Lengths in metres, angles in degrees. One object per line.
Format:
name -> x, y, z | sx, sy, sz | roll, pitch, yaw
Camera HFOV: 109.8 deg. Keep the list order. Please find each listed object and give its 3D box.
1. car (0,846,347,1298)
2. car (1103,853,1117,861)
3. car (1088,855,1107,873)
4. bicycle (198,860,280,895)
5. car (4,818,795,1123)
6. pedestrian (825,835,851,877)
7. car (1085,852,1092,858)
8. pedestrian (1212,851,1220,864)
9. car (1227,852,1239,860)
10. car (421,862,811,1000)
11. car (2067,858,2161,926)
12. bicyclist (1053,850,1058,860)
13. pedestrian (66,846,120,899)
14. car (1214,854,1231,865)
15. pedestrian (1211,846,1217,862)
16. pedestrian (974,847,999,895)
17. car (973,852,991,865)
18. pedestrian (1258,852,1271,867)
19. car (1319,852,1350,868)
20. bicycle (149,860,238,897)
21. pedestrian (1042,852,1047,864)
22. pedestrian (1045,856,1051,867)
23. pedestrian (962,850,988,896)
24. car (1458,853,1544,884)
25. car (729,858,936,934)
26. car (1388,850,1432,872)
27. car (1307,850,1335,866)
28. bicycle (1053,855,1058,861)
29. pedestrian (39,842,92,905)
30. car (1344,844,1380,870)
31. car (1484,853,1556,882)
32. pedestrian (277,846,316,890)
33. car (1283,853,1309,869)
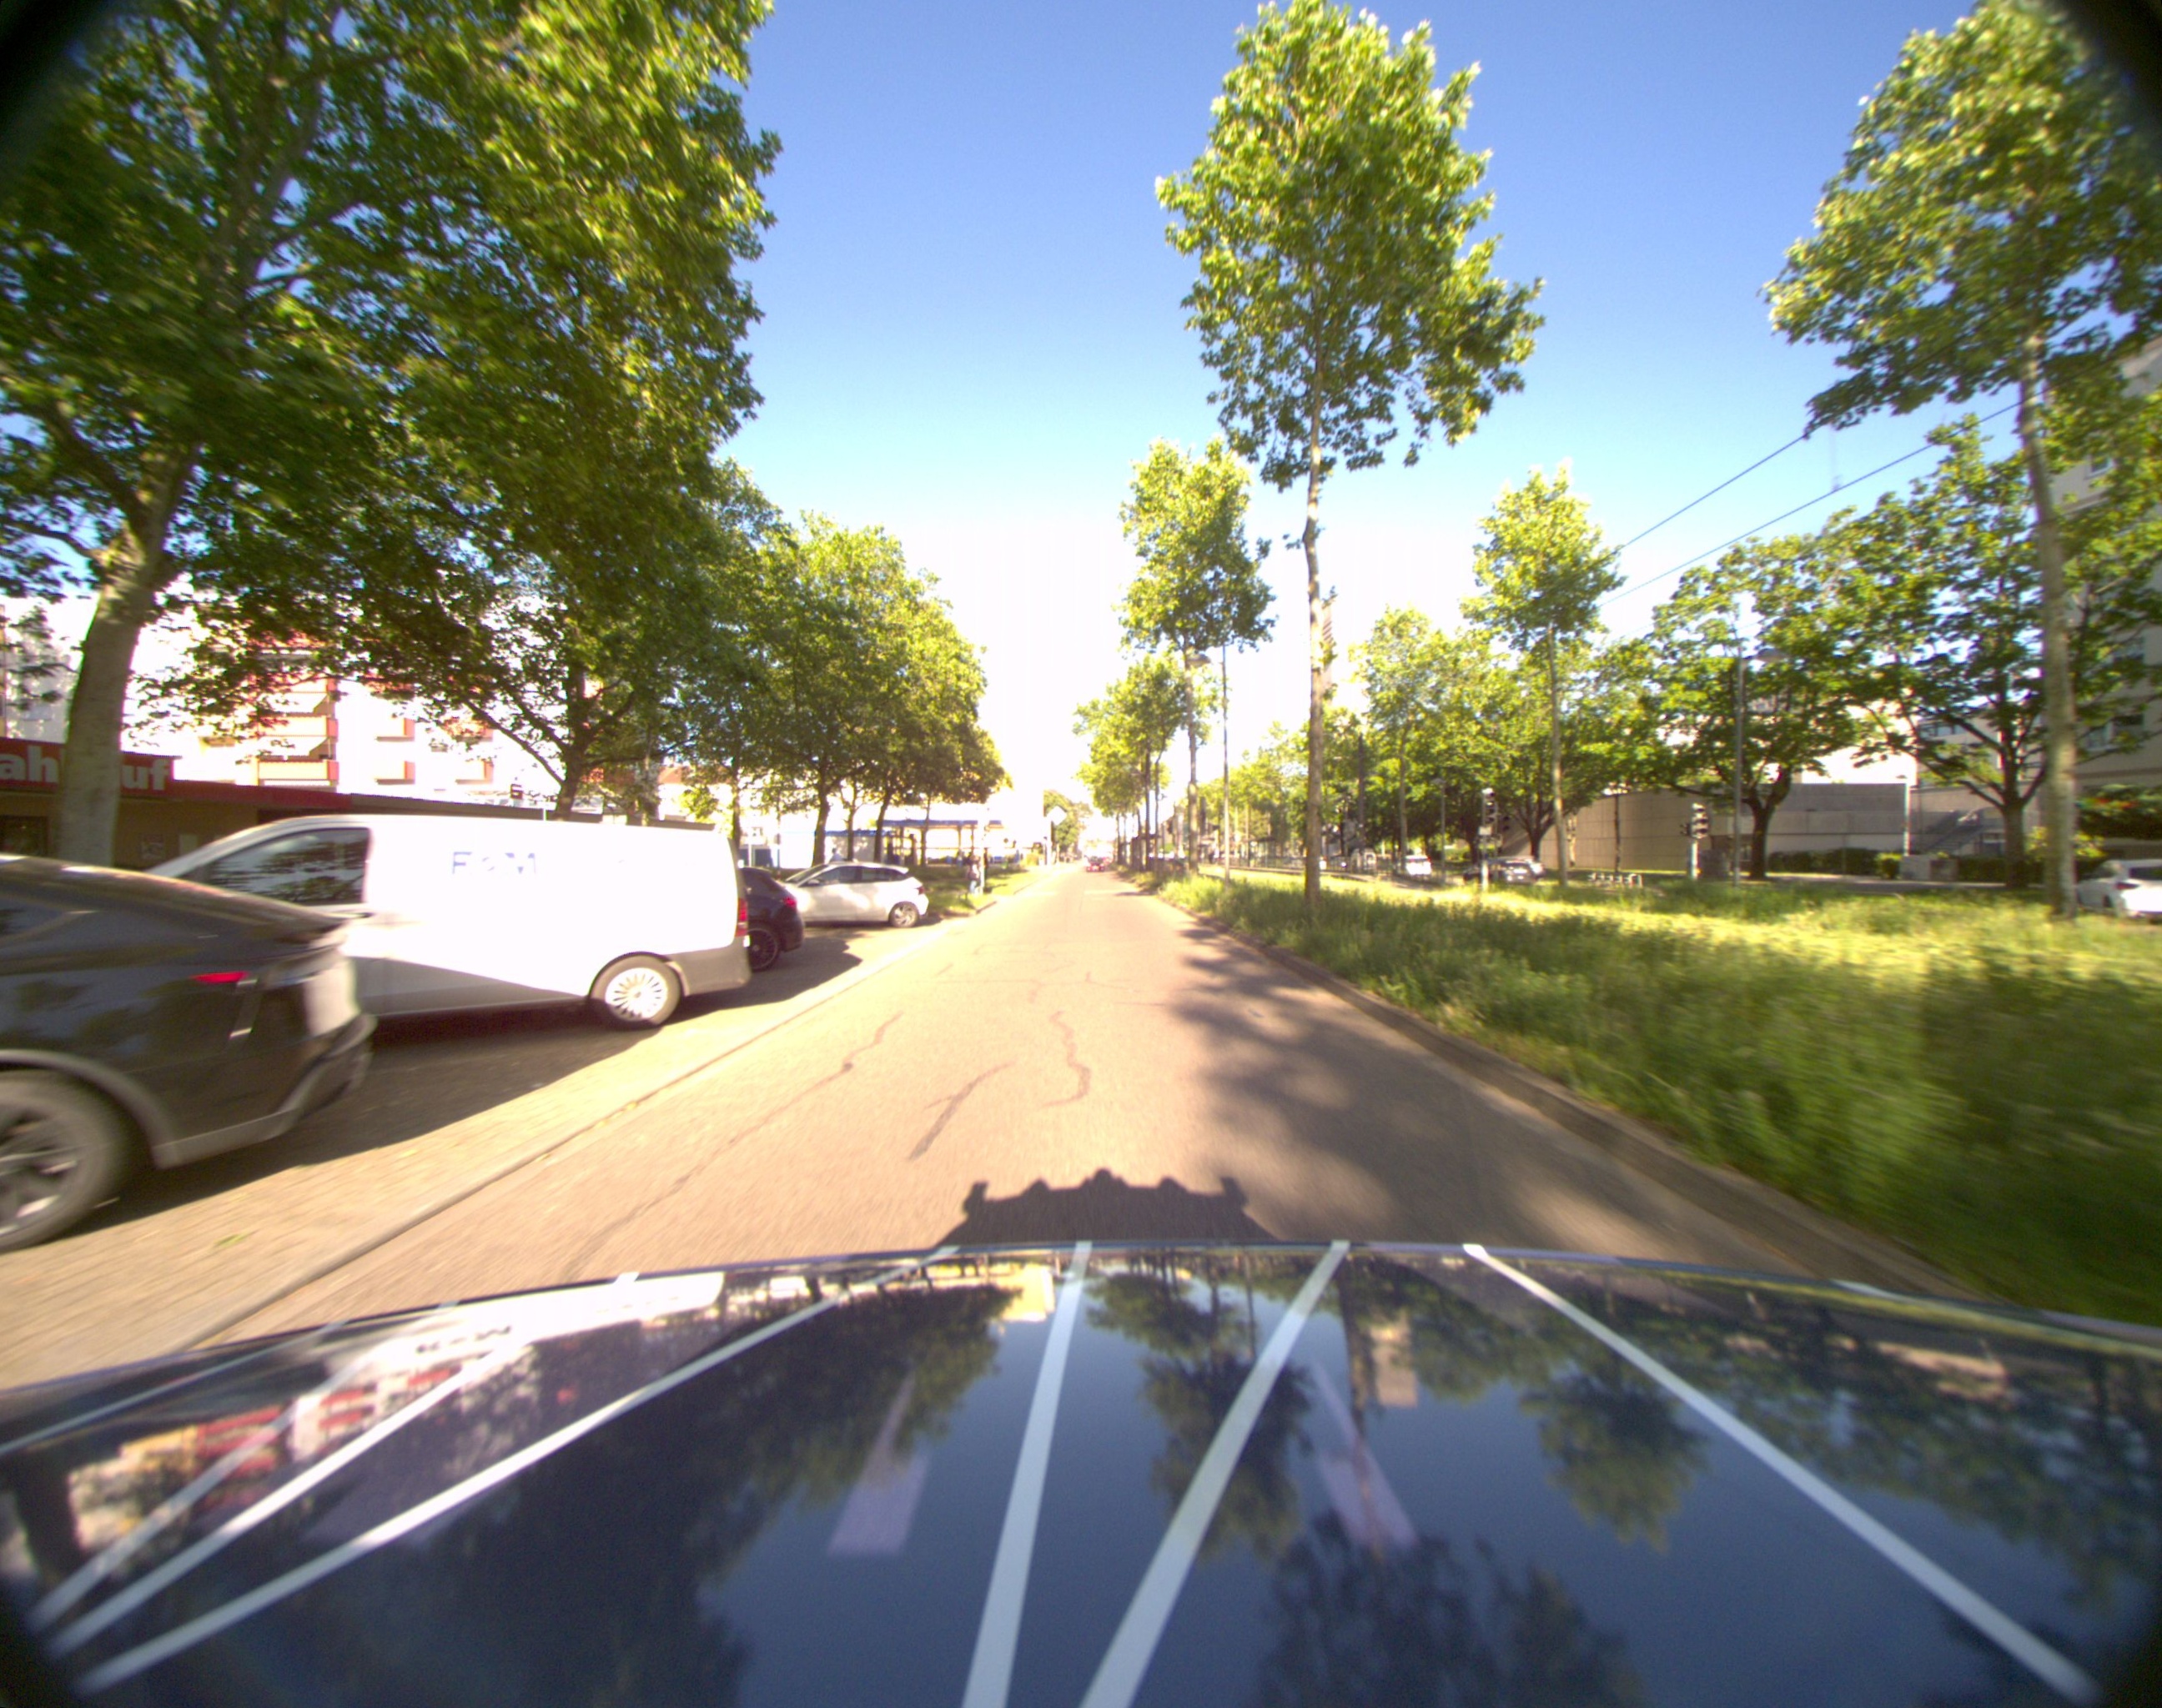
car -> -5.749, 0.809, 2.619 | 4.512, 1.695, 1.755 | 1, 1, -40
car -> 6.043, 0.602, 158.691 | 1.545, 1.522, 3.597 | -3, 1, -19
car -> 1.473, 0.873, 67.862 | 1.619, 1.536, 4.277 | 0, 0, 2
bicycle -> -30.182, 0.820, 27.280 | 0.597, 1.172, 1.853 | -1, 0, 23
car -> -5.225, 0.713, 6.751 | 4.680, 1.842, 1.825 | 1, 1, -39
pedestrian -> -9.876, 0.081, 30.898 | 0.844, 1.712, 0.830 | 0, 0, -2
car -> 2.081, 0.329, 215.009 | 1.998, 1.806, 4.000 | -1, 0, 1
pedestrian -> 16.538, 0.422, 93.242 | 0.885, 1.680, 0.754 | -1, 1, 2
car -> 23.790, 0.234, 119.236 | 1.266, 1.234, 3.376 | 0, 0, 0
car -> -5.866, 0.889, 9.959 | 4.007, 1.421, 1.794 | 2, 0, -35
car -> 24.510, 0.814, 17.308 | 1.835, 1.426, 3.834 | 0, 0, 42
bicyclist -> -3.929, 0.164, 118.239 | 0.678, 1.466, 0.936 | 0, 1, 1
pedestrian -> -27.192, 0.504, 20.922 | 0.533, 1.422, 0.715 | 0, 0, -4
car -> 19.219, 0.765, 103.380 | 1.609, 1.419, 3.536 | 0, 0, -1
pedestrian -> 16.456, 0.006, 93.985 | 0.722, 1.856, 0.637 | -1, 1, 2
pedestrian -> -3.759, 0.661, 30.262 | 0.799, 1.874, 0.928 | 0, 0, 5
car -> -10.889, 0.482, 83.756 | 1.725, 1.455, 4.004 | 0, 0, -3
pedestrian -> 16.079, 0.465, 66.607 | 0.838, 1.253, 0.801 | -1, 1, 30
car -> 23.579, 0.536, 70.903 | 1.598, 1.480, 4.020 | 0, 0, 0
bicycle -> -30.026, 0.822, 25.748 | 0.597, 1.172, 1.854 | -1, 1, 29
pedestrian -> -5.010, 0.569, 104.658 | 0.605, 1.692, 0.552 | 0, 1, 5
pedestrian -> -5.324, 1.176, 122.810 | 0.790, 1.817, 1.032 | 1, 1, -16
pedestrian -> -3.976, 0.700, 28.546 | 0.714, 1.696, 0.652 | 1, 1, -33
car -> 20.076, 0.666, 36.527 | 1.998, 1.381, 4.169 | 0, 0, 3
car -> -5.446, 0.901, 16.754 | 4.006, 1.461, 1.756 | 2, 0, -30
car -> 23.925, 0.481, 55.315 | 1.717, 1.537, 3.934 | 0, 0, 4
car -> 24.616, 0.367, 78.012 | 1.598, 1.626, 3.930 | 0, 0, 1
bicycle -> -3.941, 0.557, 118.213 | 0.684, 0.925, 1.736 | 0, 0, 0
pedestrian -> -27.760, 0.517, 20.773 | 0.496, 1.690, 0.715 | 0, 0, -4
car -> 24.462, 0.246, 66.189 | 1.718, 2.249, 3.933 | 0, 0, 1
car -> 24.471, 0.699, 42.531 | 1.718, 1.537, 4.201 | 0, 0, 2
pedestrian -> -28.527, 0.511, 27.634 | 0.673, 1.575, 0.715 | 0, 0, -4
car -> 21.911, 0.696, 77.429 | 1.718, 1.537, 3.934 | 0, 0, 3
